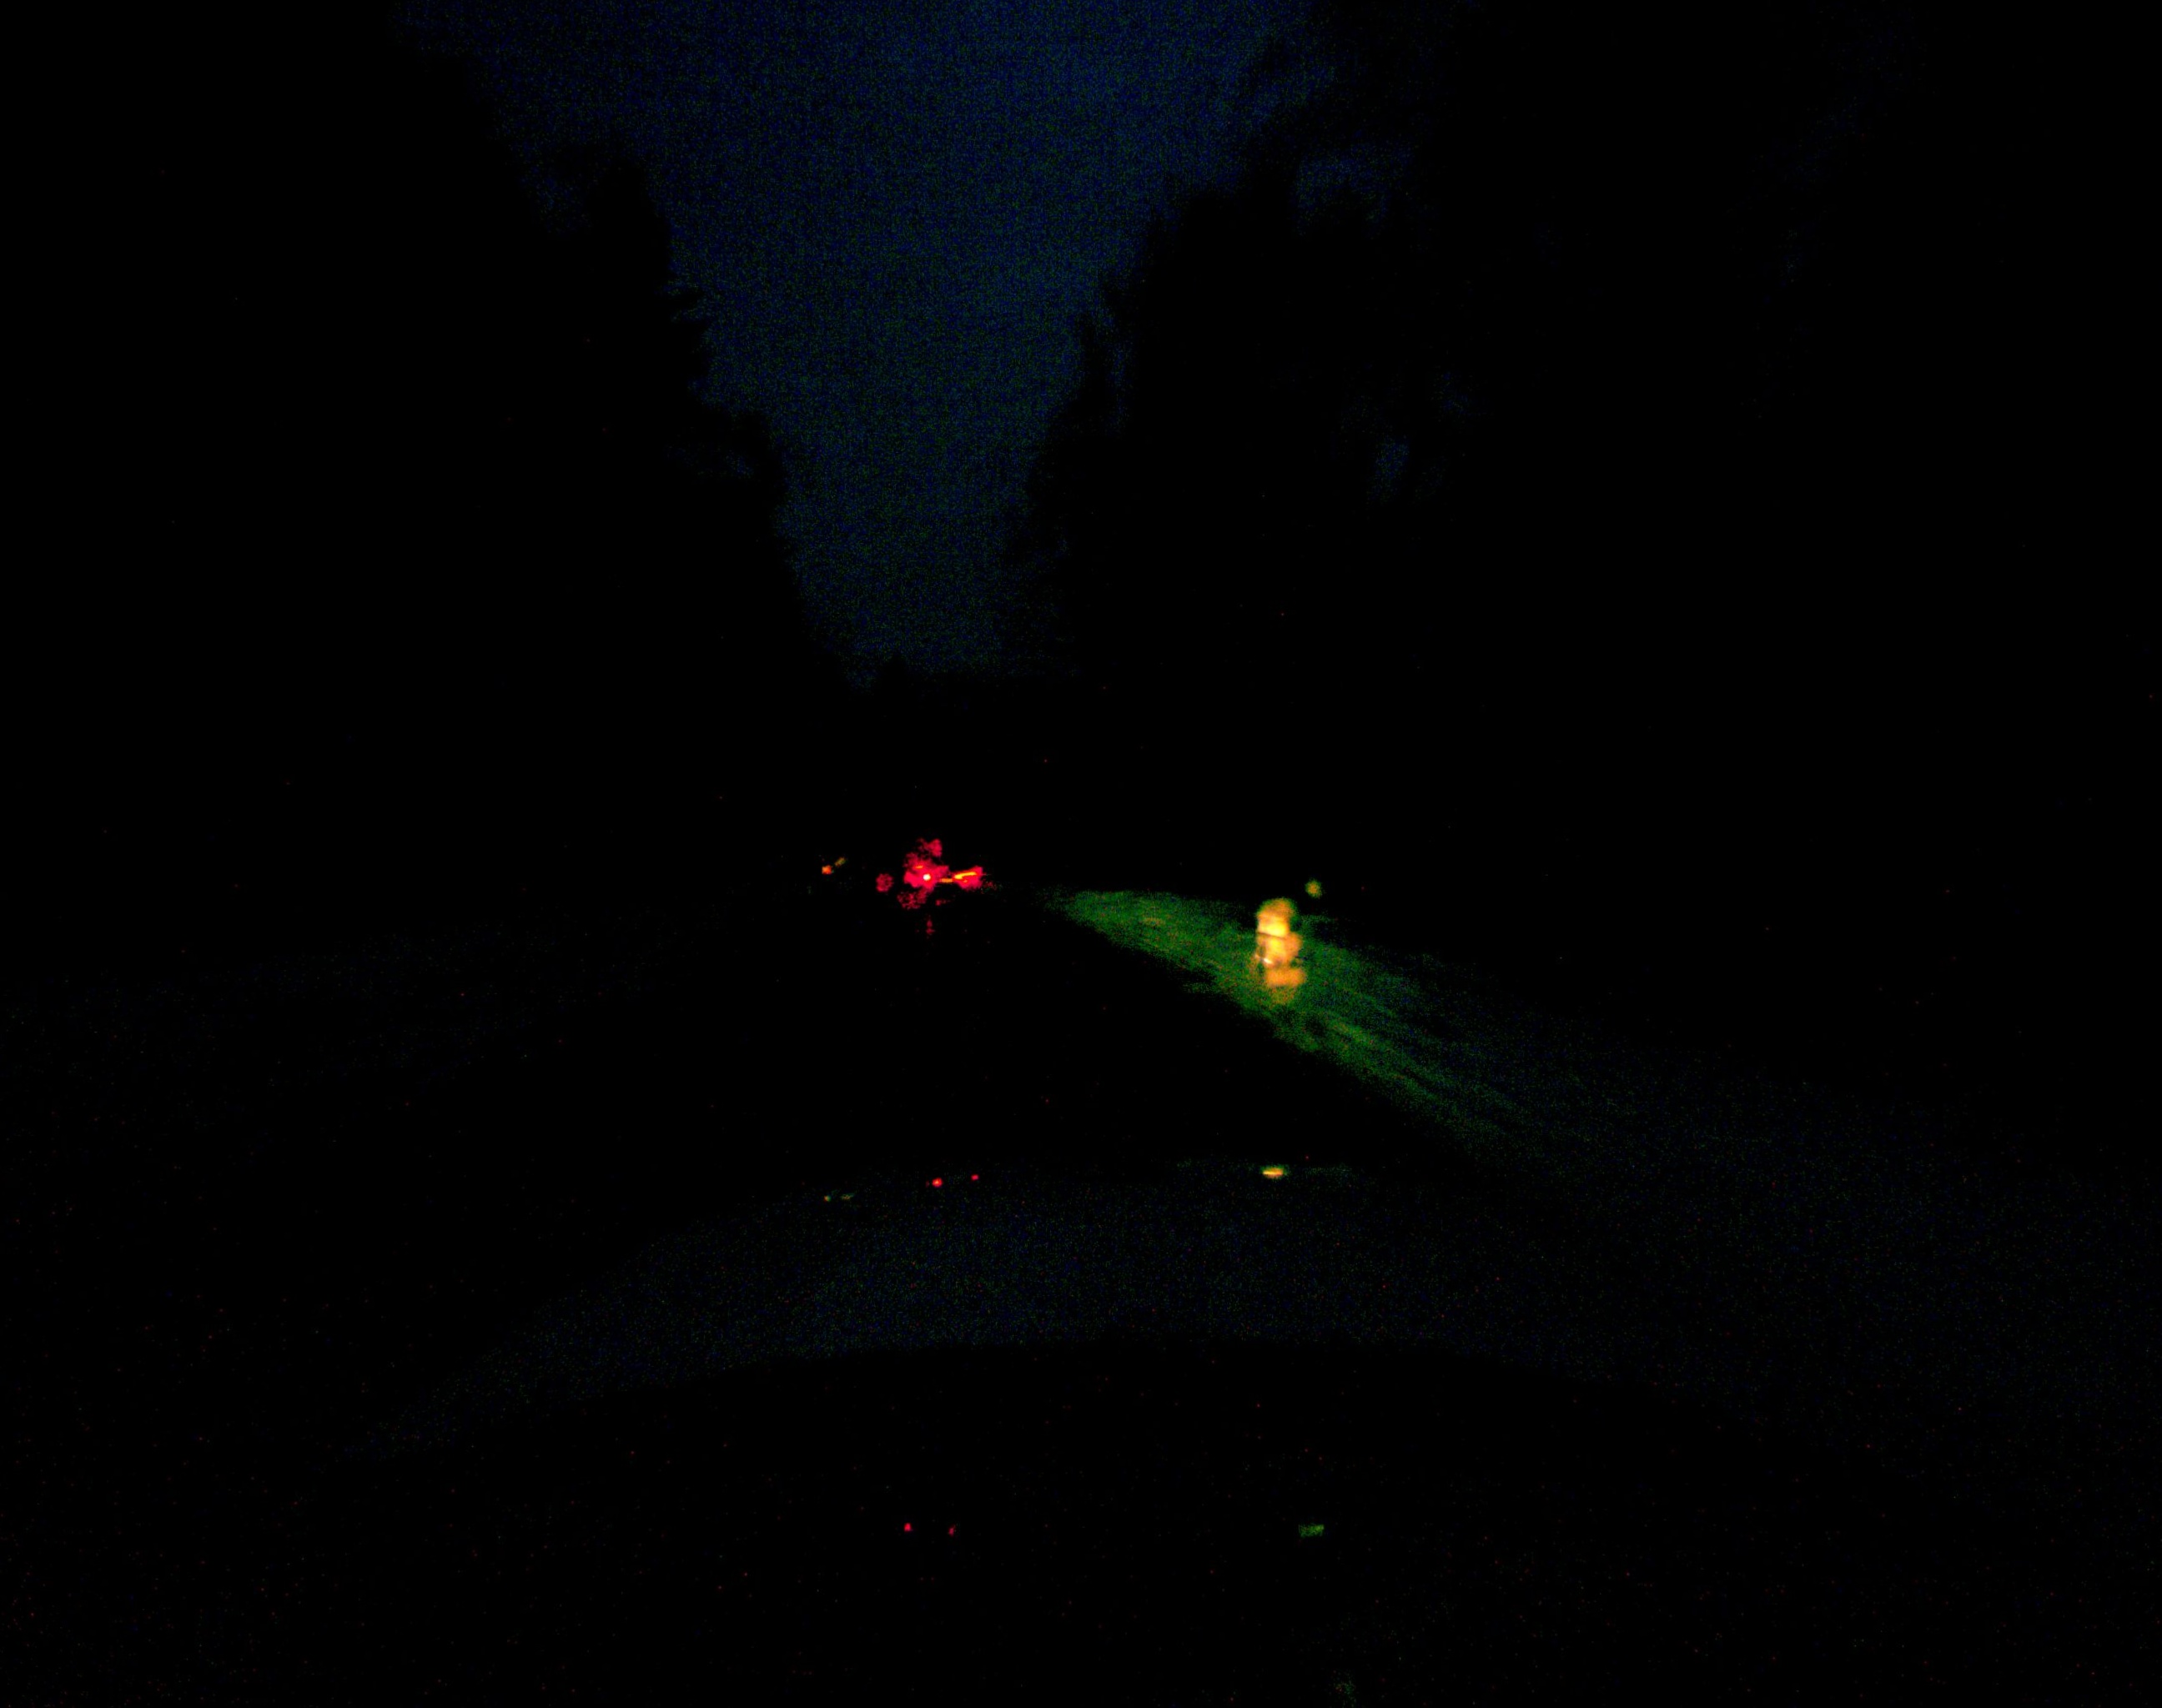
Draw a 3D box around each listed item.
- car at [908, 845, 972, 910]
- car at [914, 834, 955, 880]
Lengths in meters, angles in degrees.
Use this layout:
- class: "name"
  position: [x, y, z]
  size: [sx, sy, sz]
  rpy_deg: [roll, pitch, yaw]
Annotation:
- class: "car"
  position: [-4.908, 0.809, 28.884]
  size: [1.992, 2.052, 3.989]
  rpy_deg: [-2, -1, -8]
- class: "car"
  position: [-8.966, 0.223, 50.202]
  size: [2.251, 2.645, 4.991]
  rpy_deg: [-1, -1, -9]
